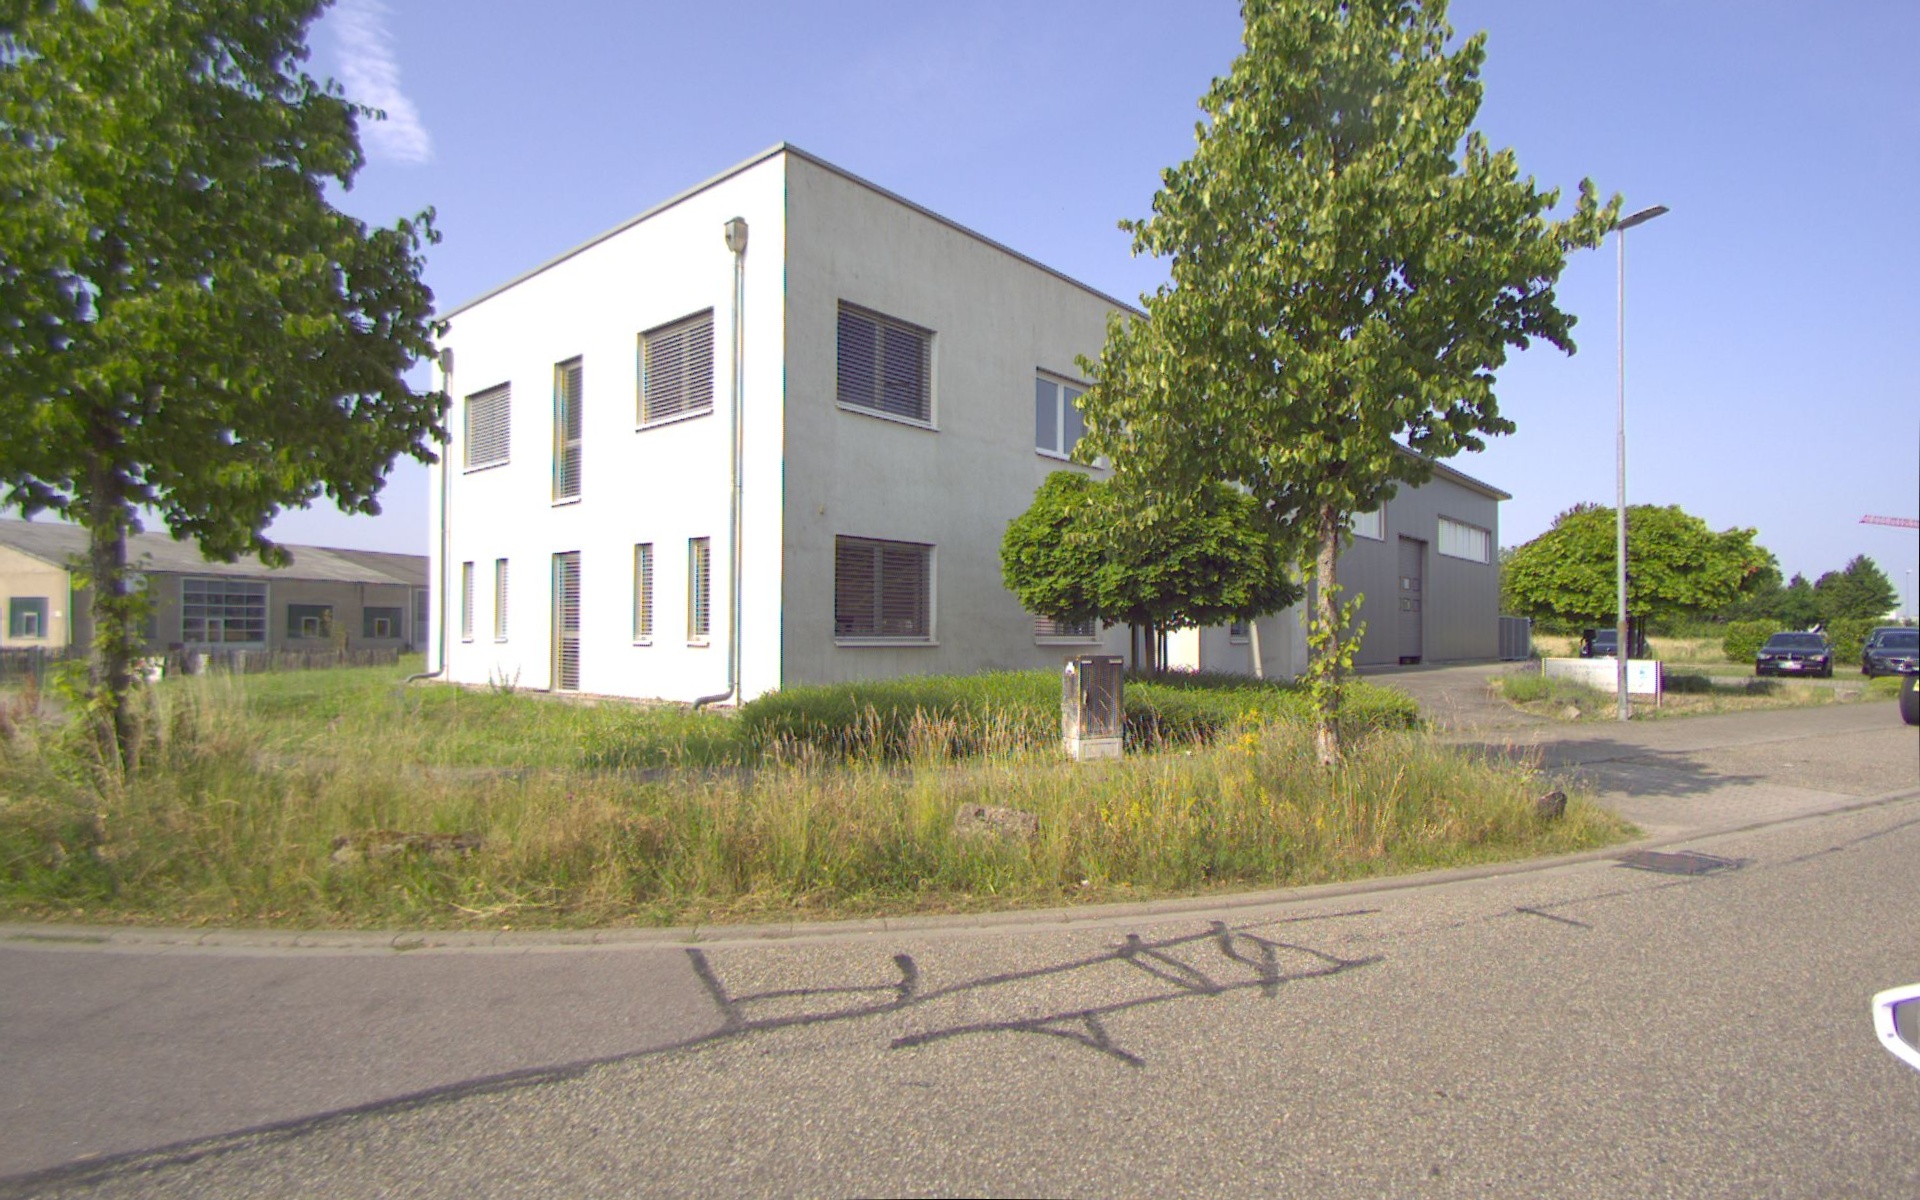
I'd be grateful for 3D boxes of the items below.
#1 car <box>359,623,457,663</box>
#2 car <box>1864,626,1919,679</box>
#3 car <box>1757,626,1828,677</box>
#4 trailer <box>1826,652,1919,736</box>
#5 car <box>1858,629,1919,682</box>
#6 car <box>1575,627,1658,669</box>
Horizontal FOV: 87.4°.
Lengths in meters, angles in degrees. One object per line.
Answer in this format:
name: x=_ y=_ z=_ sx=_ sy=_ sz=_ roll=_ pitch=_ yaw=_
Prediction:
car: x=-31.053 y=2.422 z=56.560 sx=4.558 sy=2.166 sz=2.148 roll=0 pitch=-2 yaw=14
car: x=28.803 y=1.579 z=30.521 sx=1.954 sy=1.496 sz=4.398 roll=0 pitch=-1 yaw=42
car: x=26.758 y=1.616 z=32.277 sx=1.659 sy=1.496 sz=4.330 roll=0 pitch=-1 yaw=40
trailer: x=17.709 y=1.444 z=16.353 sx=9.618 sy=1.088 sz=2.533 roll=1 pitch=0 yaw=-31
car: x=32.101 y=1.853 z=34.429 sx=1.967 sy=1.680 sz=4.398 roll=0 pitch=-1 yaw=42
car: x=23.336 y=1.659 z=35.624 sx=1.966 sy=1.342 sz=4.330 roll=0 pitch=-1 yaw=40
